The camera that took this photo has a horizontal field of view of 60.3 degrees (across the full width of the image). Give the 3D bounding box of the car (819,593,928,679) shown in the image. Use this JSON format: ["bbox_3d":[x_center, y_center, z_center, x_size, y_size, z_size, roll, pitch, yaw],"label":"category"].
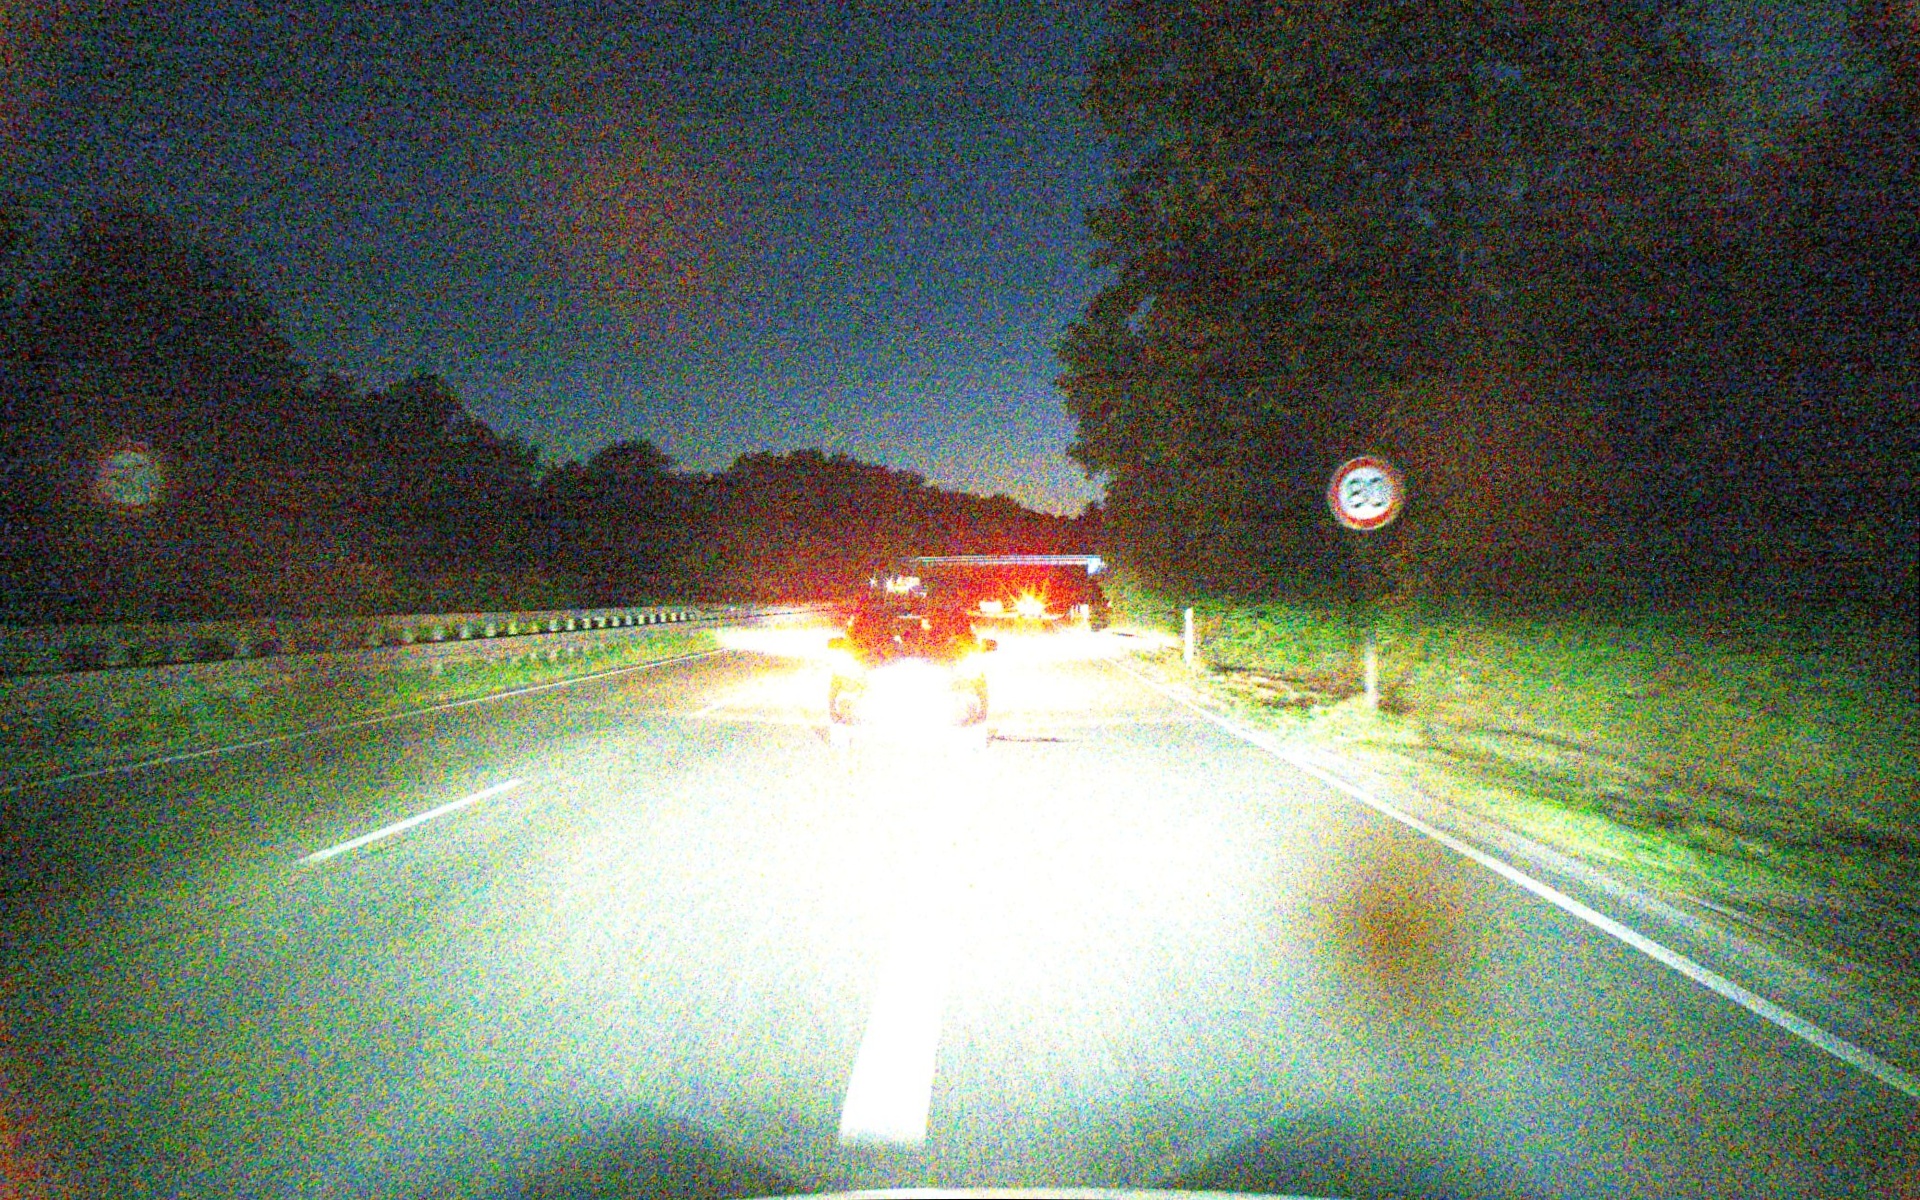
[{"bbox_3d":[-1.722,0.687,34.320,1.900,1.636,4.644,1,0,1],"label":"car"}]

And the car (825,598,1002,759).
[{"bbox_3d":[-0.534,0.754,17.776,1.657,1.503,3.998,1,0,-3],"label":"car"}]

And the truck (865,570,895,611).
[{"bbox_3d":[-8.611,-1.027,178.585,2.620,4.250,5.870,1,0,3],"label":"truck"}]

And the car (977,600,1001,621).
[{"bbox_3d":[2.464,0.871,138.358,1.911,1.565,4.241,-4,-2,1],"label":"car"}]

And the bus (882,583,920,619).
[{"bbox_3d":[-5.880,0.001,166.982,2.862,3.446,12.311,1,1,2],"label":"bus"}]

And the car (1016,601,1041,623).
[{"bbox_3d":[5.170,0.899,124.913,1.698,1.646,3.798,1,0,0],"label":"car"}]
